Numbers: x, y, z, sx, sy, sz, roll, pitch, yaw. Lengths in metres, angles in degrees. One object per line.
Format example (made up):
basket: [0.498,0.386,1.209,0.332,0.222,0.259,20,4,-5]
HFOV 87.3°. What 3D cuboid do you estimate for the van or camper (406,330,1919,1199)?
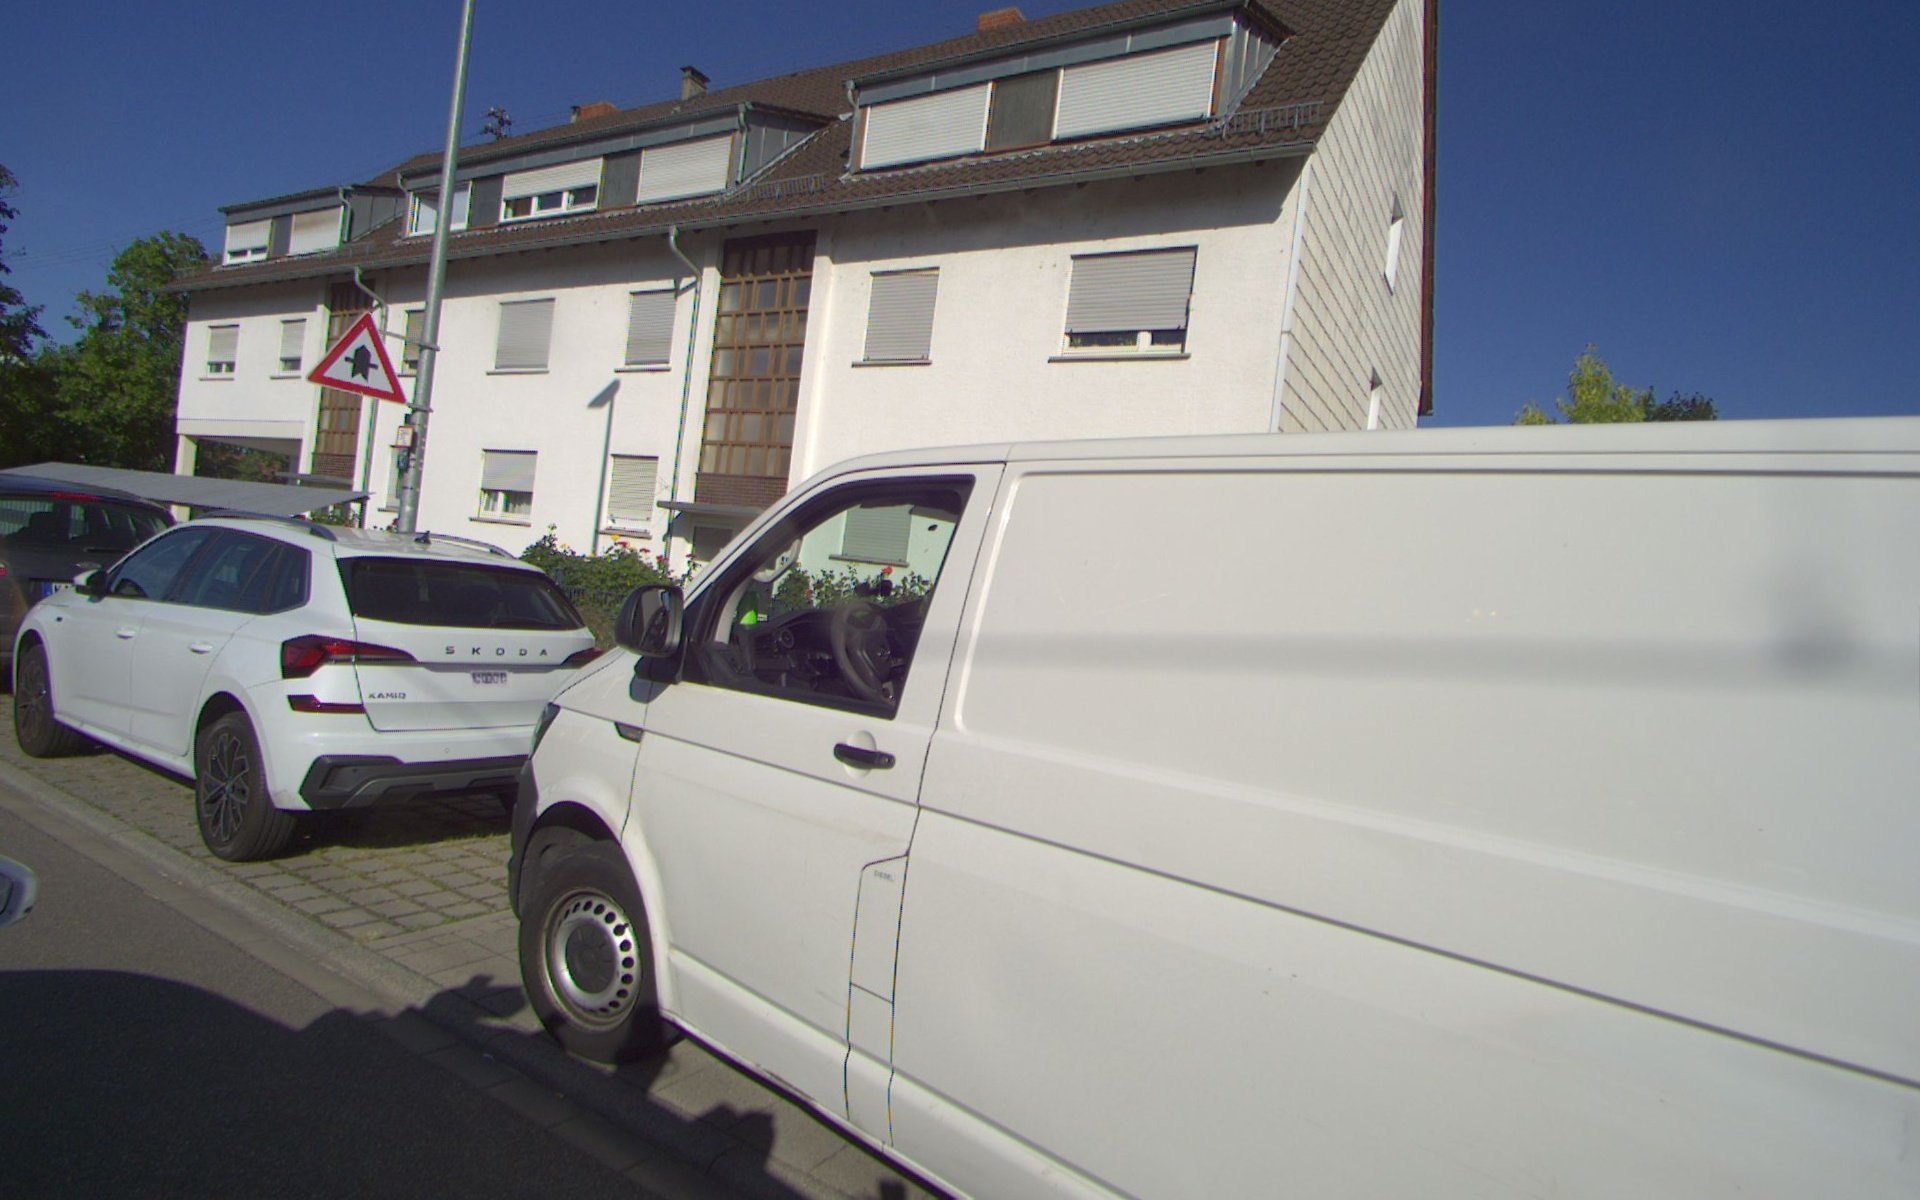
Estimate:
van or camper: [0.776,0.649,2.685,5.217,1.981,2.026,7,0,39]

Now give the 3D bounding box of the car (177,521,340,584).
car: [-23.176,-1.532,33.390,1.715,1.515,4.007,7,-1,32]

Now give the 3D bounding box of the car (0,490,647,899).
car: [-3.903,0.315,5.830,4.092,1.511,1.658,6,0,33]

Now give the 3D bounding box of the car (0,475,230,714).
car: [-8.437,-0.257,8.552,4.779,1.650,1.792,7,2,30]
